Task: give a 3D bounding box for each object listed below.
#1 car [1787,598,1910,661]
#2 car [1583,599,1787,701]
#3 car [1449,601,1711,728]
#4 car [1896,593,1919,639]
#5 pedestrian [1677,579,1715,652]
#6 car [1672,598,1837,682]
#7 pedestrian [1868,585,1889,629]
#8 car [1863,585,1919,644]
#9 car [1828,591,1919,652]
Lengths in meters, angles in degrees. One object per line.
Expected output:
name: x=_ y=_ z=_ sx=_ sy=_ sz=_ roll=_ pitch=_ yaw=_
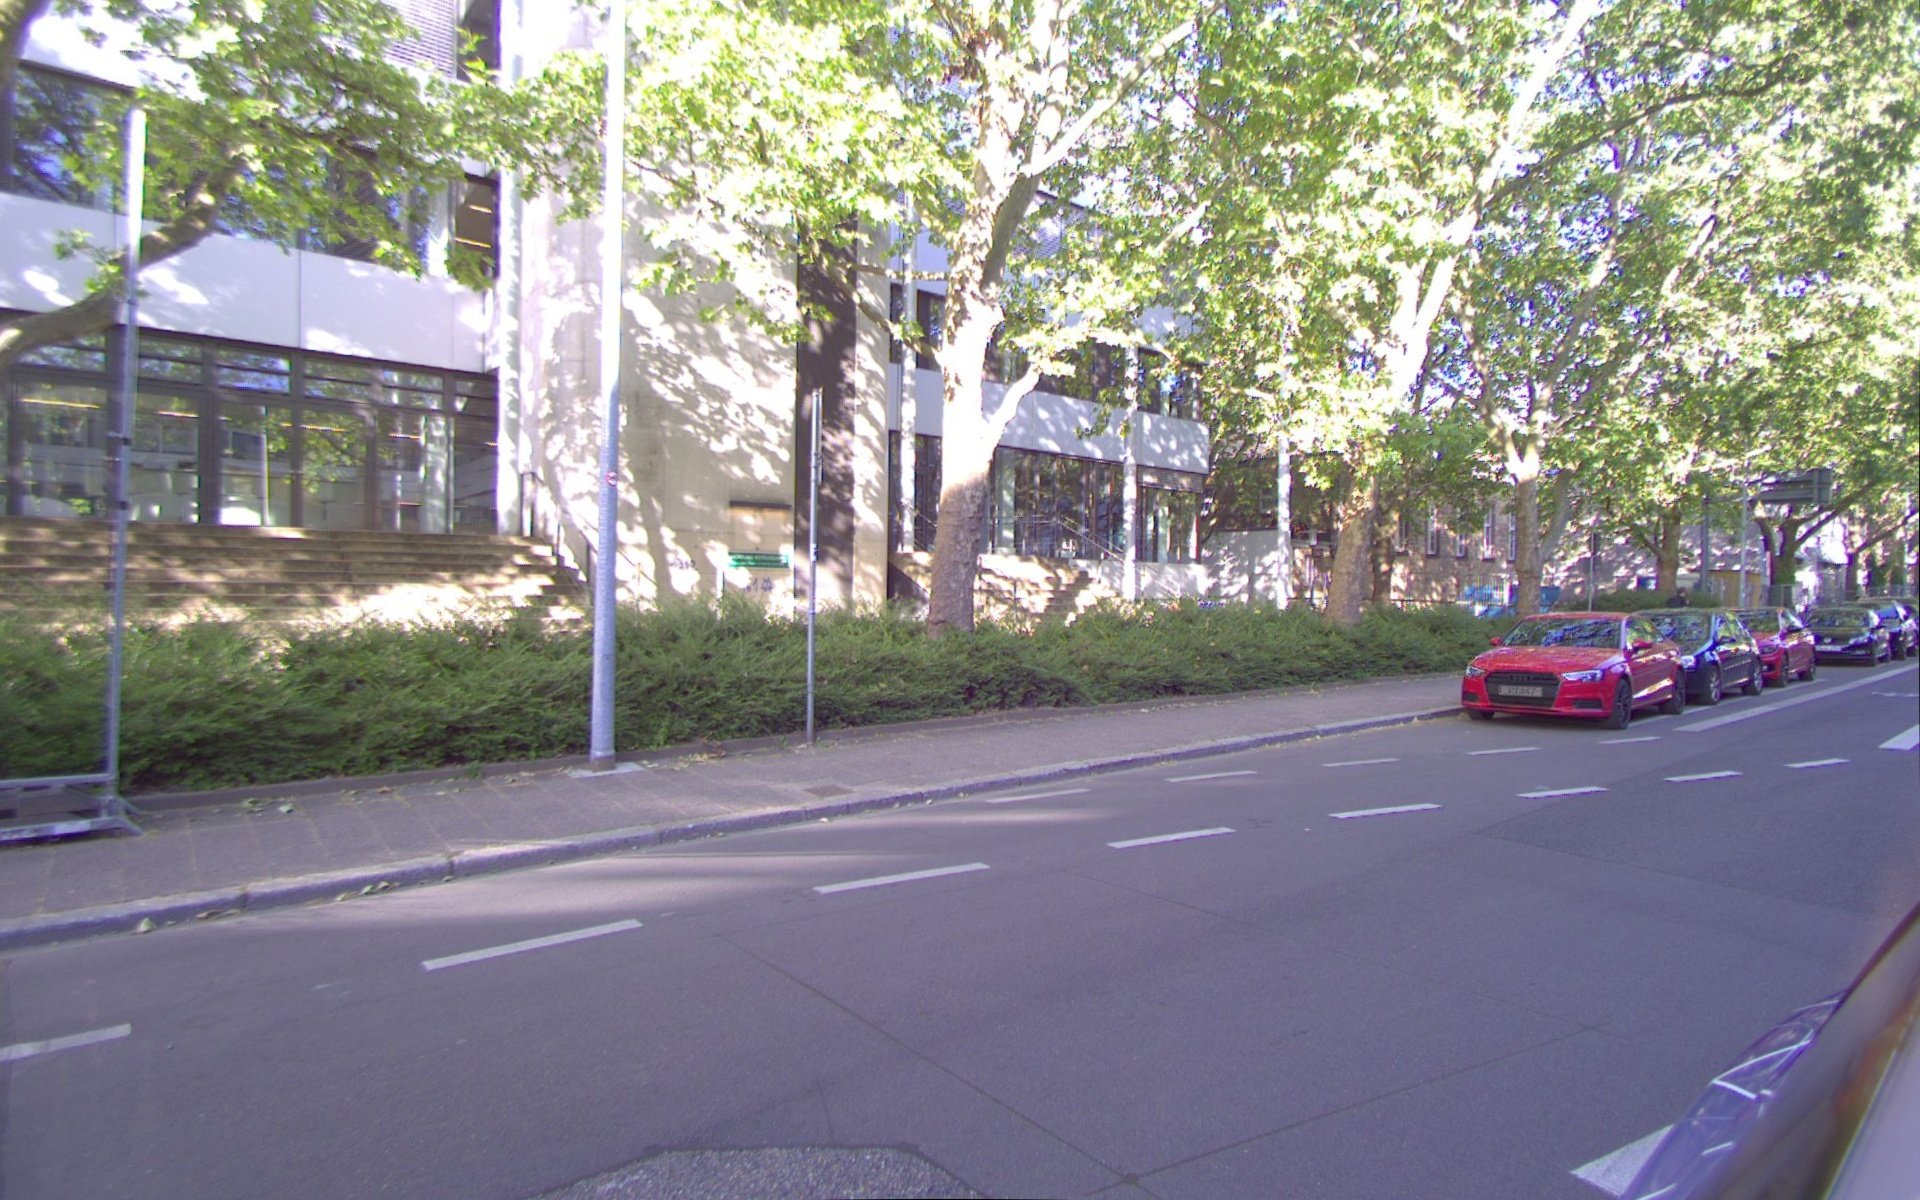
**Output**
car: x=22.869 y=0.700 z=25.994 sx=4.095 sy=1.486 sz=1.834 roll=0 pitch=0 yaw=-41
car: x=12.022 y=0.717 z=16.687 sx=4.095 sy=1.464 sz=1.834 roll=0 pitch=0 yaw=-41
car: x=8.403 y=0.735 z=13.570 sx=4.173 sy=1.422 sz=1.834 roll=0 pitch=0 yaw=-41
car: x=35.906 y=0.577 z=37.104 sx=4.183 sy=1.634 sz=1.834 roll=0 pitch=0 yaw=-40
pedestrian: x=19.285 y=0.404 z=26.512 sx=0.629 sy=1.884 sz=0.660 roll=0 pitch=0 yaw=-41
car: x=15.837 y=0.707 z=20.102 sx=4.095 sy=1.486 sz=1.834 roll=0 pitch=0 yaw=-41
pedestrian: x=38.866 y=0.294 z=42.814 sx=0.583 sy=1.818 sz=0.600 roll=0 pitch=0 yaw=-41
car: x=31.043 y=0.436 z=32.978 sx=4.384 sy=1.820 sz=1.834 roll=0 pitch=0 yaw=-40
car: x=26.558 y=0.570 z=29.088 sx=4.088 sy=1.626 sz=1.834 roll=0 pitch=0 yaw=-40
